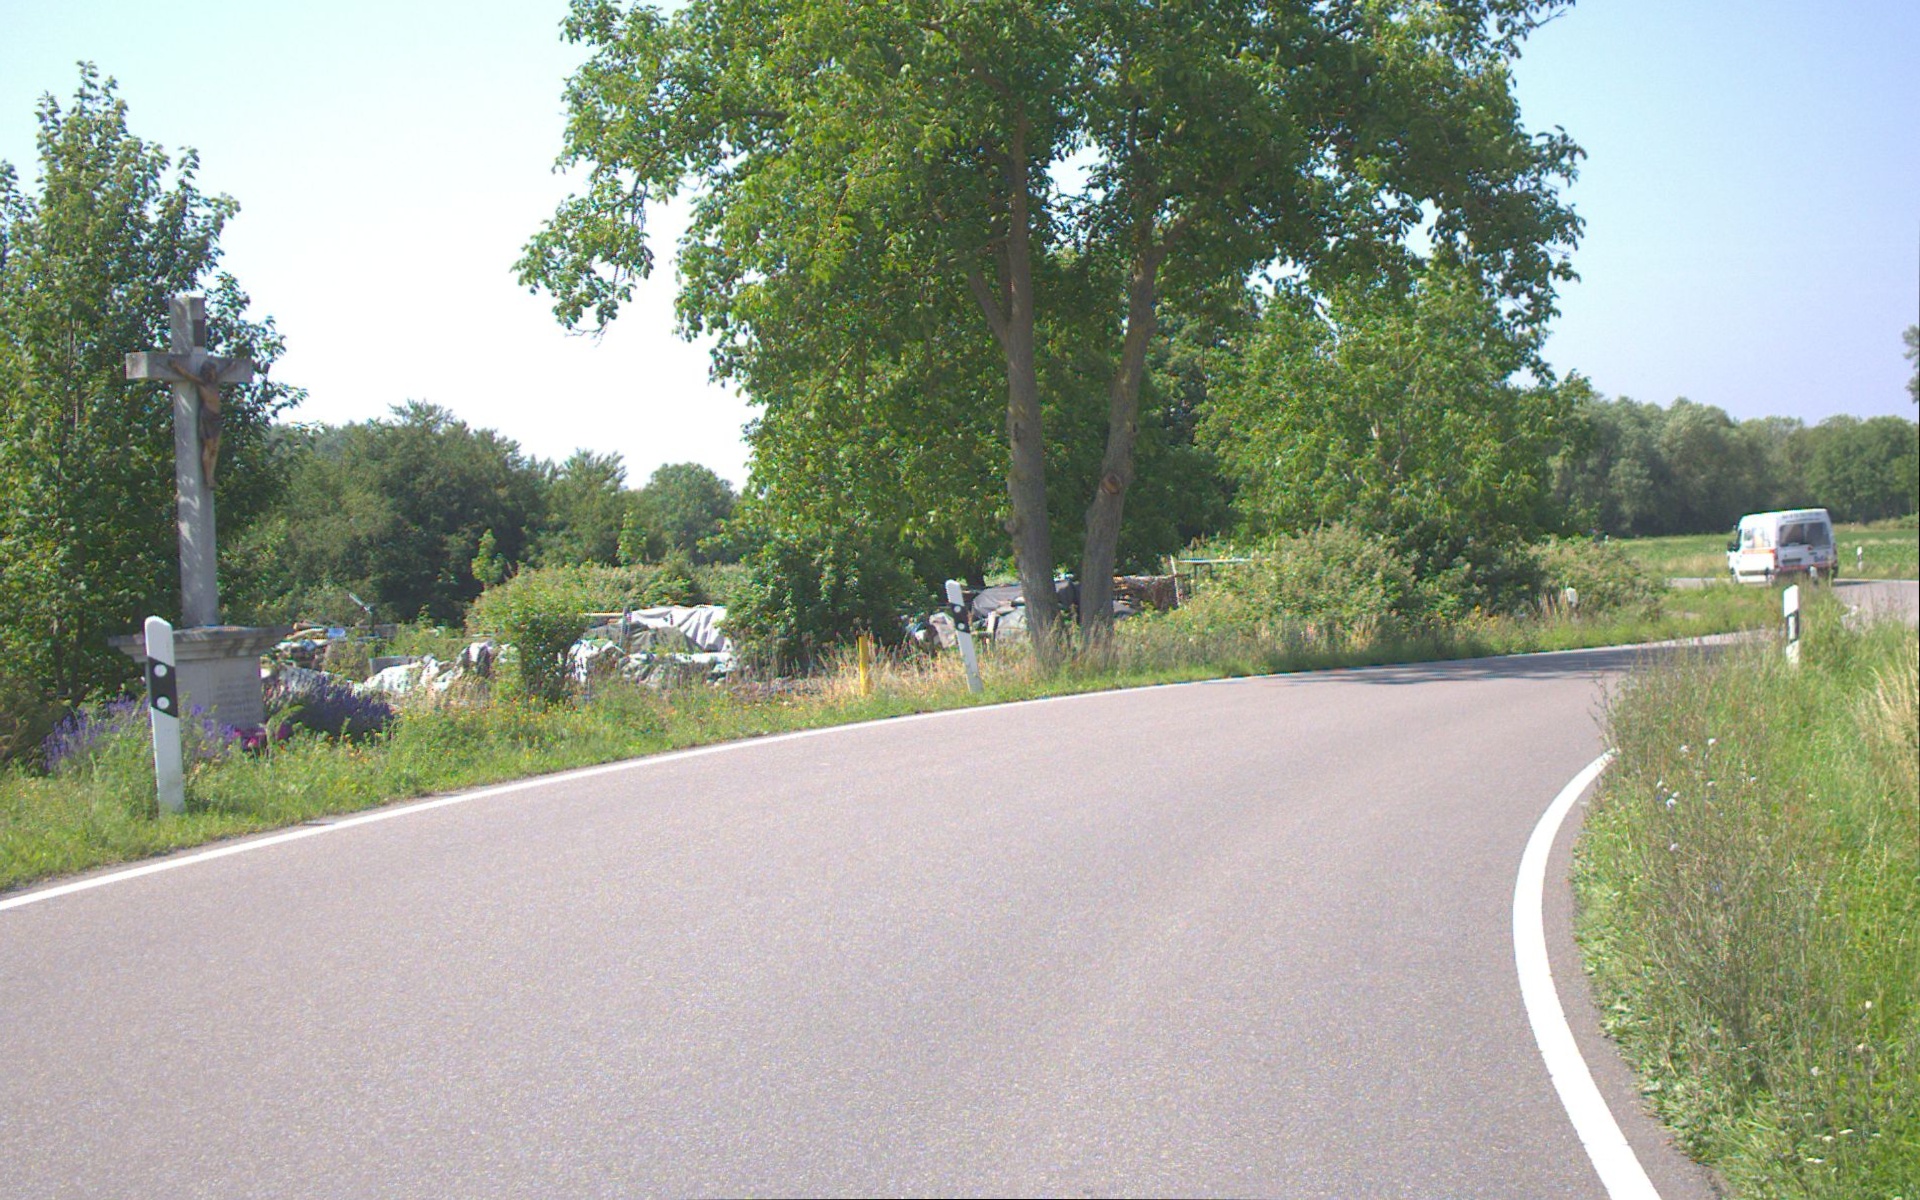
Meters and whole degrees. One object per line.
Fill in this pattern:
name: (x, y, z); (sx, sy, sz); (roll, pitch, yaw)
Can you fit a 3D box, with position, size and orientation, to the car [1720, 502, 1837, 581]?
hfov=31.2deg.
car: (25.960, -1.881, 109.214); (2.104, 2.359, 5.687); (-2, 1, -2)
